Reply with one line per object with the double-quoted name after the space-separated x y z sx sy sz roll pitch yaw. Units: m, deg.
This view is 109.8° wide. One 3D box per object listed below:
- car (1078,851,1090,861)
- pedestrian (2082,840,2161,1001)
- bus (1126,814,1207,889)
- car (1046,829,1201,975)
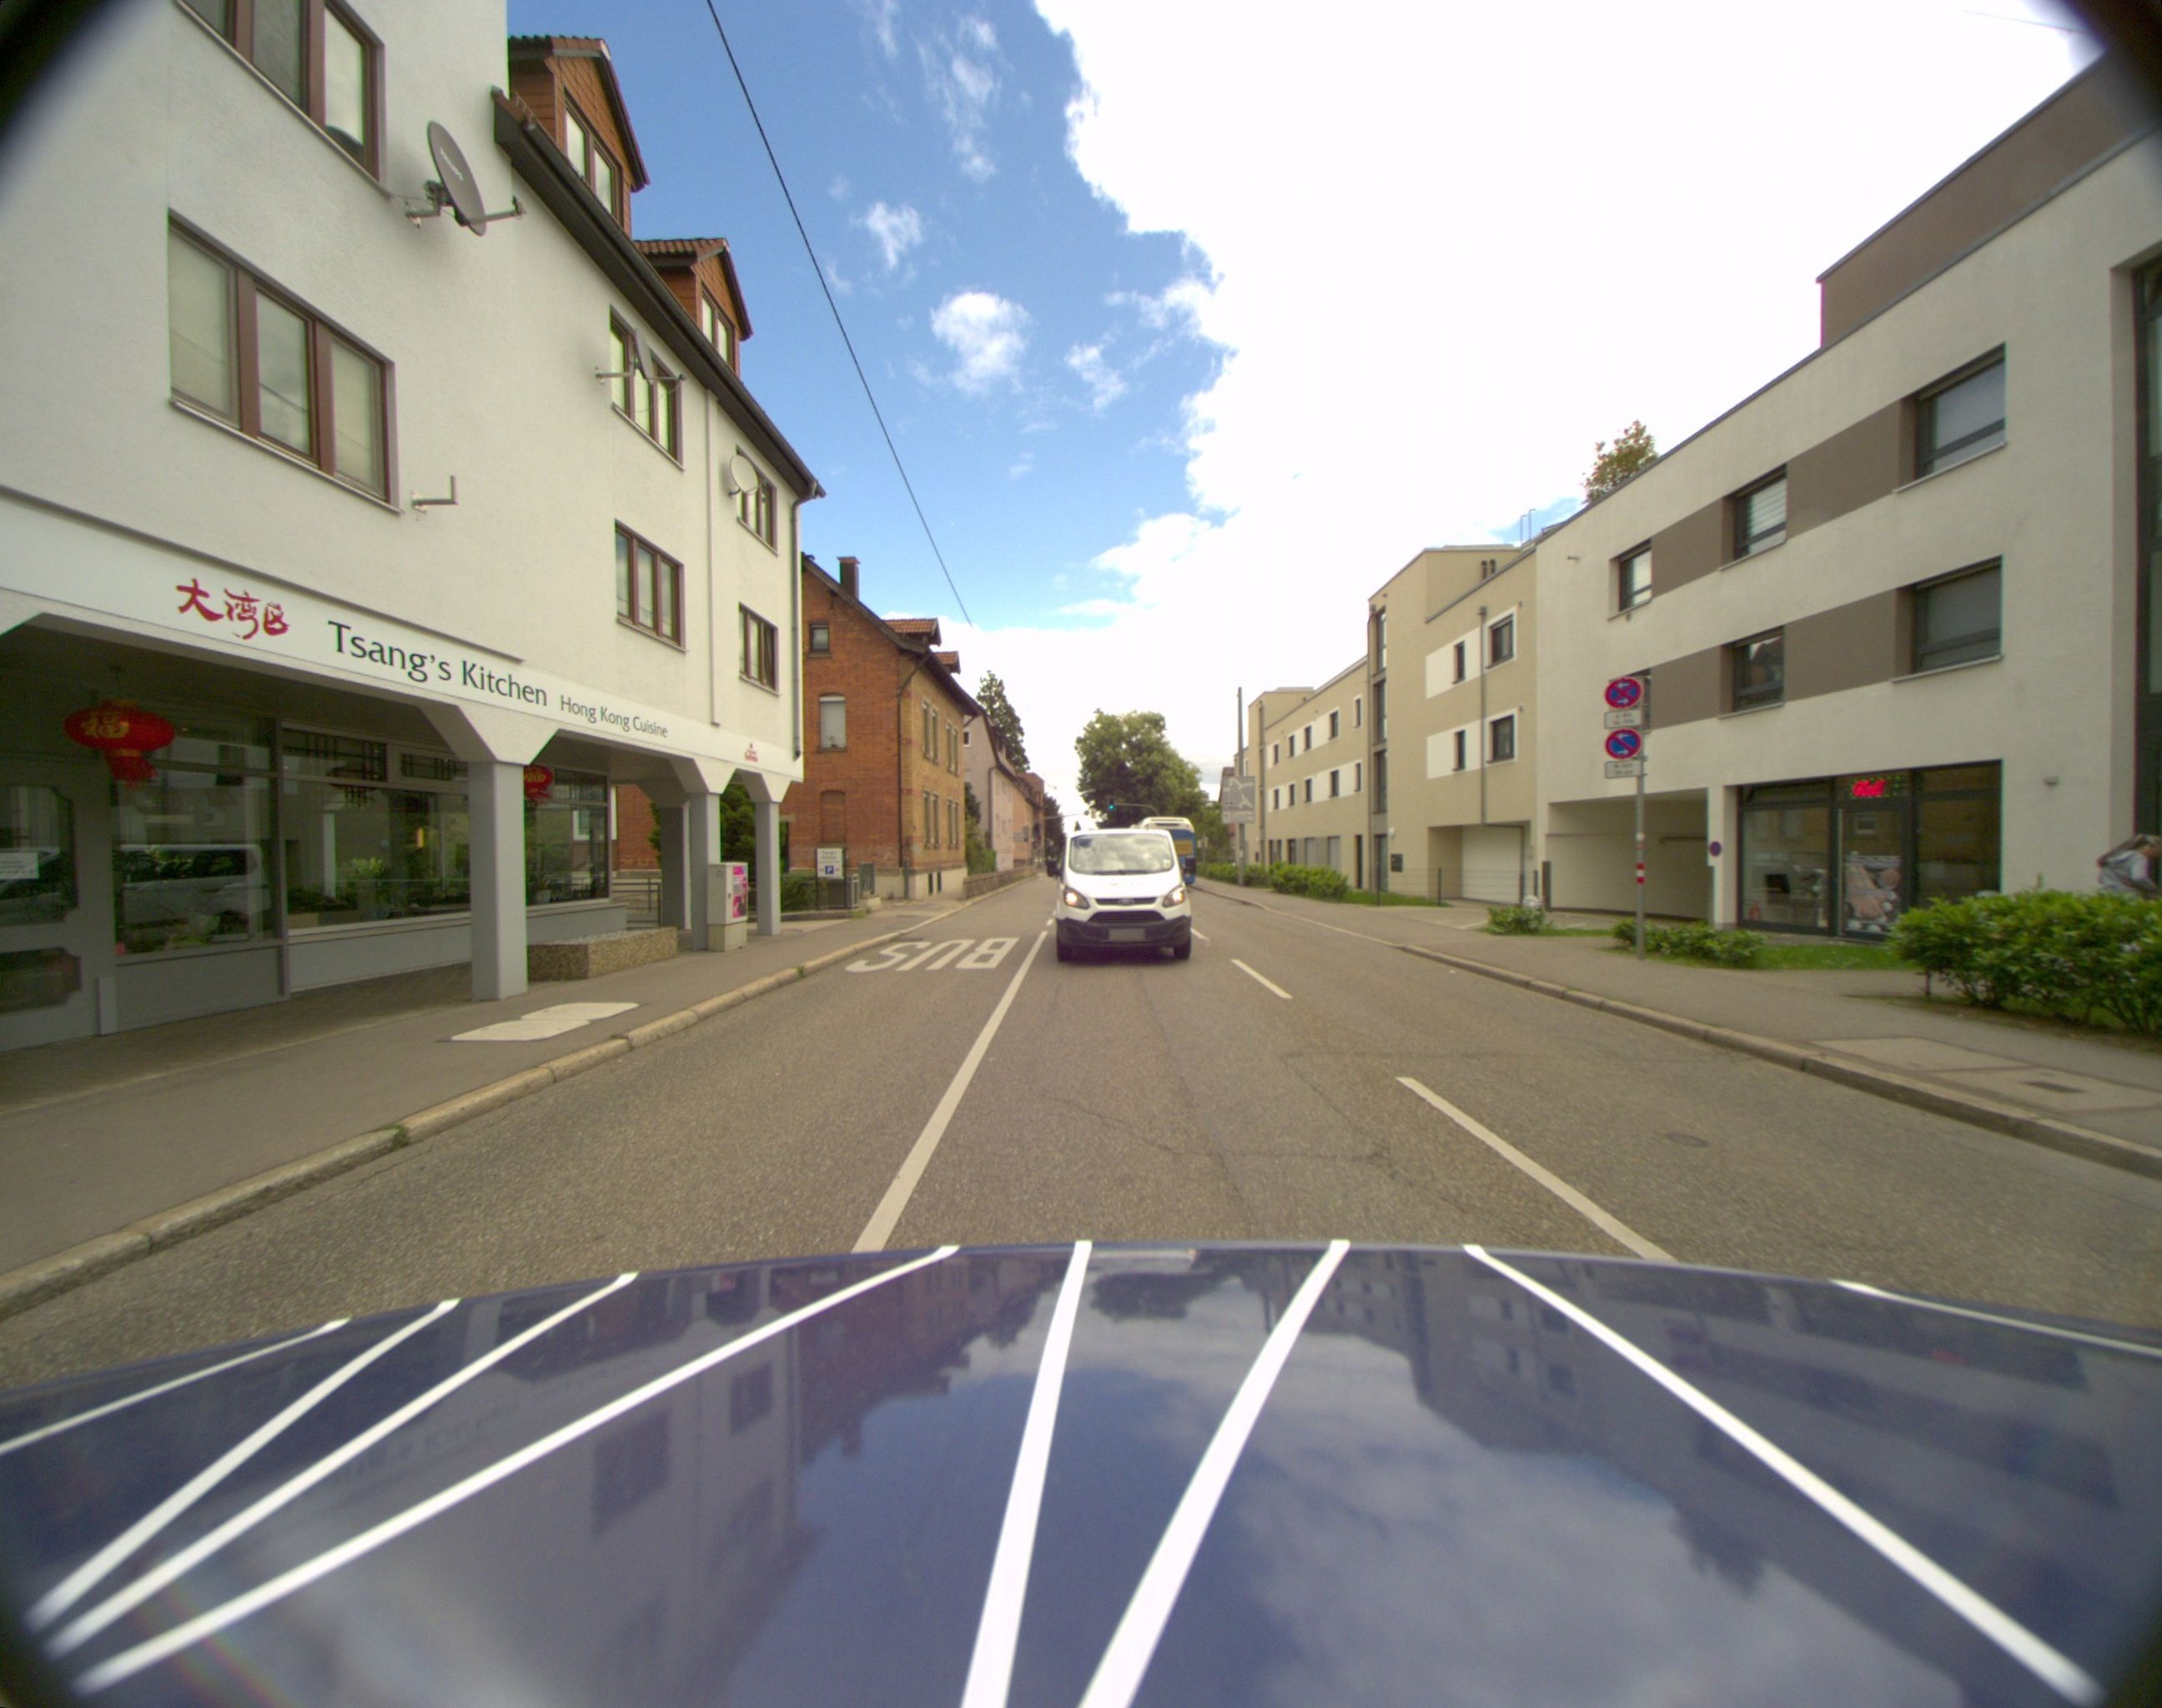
0.449 0.364 117.182 1.755 1.485 3.985 -1 1 0 "car"
11.071 0.673 7.973 0.518 1.633 0.641 0 1 36 "pedestrian"
4.103 -0.143 39.378 2.950 3.255 12.007 1 0 1 "bus"
0.578 0.625 12.748 2.062 1.946 5.060 -1 1 0 "car"
